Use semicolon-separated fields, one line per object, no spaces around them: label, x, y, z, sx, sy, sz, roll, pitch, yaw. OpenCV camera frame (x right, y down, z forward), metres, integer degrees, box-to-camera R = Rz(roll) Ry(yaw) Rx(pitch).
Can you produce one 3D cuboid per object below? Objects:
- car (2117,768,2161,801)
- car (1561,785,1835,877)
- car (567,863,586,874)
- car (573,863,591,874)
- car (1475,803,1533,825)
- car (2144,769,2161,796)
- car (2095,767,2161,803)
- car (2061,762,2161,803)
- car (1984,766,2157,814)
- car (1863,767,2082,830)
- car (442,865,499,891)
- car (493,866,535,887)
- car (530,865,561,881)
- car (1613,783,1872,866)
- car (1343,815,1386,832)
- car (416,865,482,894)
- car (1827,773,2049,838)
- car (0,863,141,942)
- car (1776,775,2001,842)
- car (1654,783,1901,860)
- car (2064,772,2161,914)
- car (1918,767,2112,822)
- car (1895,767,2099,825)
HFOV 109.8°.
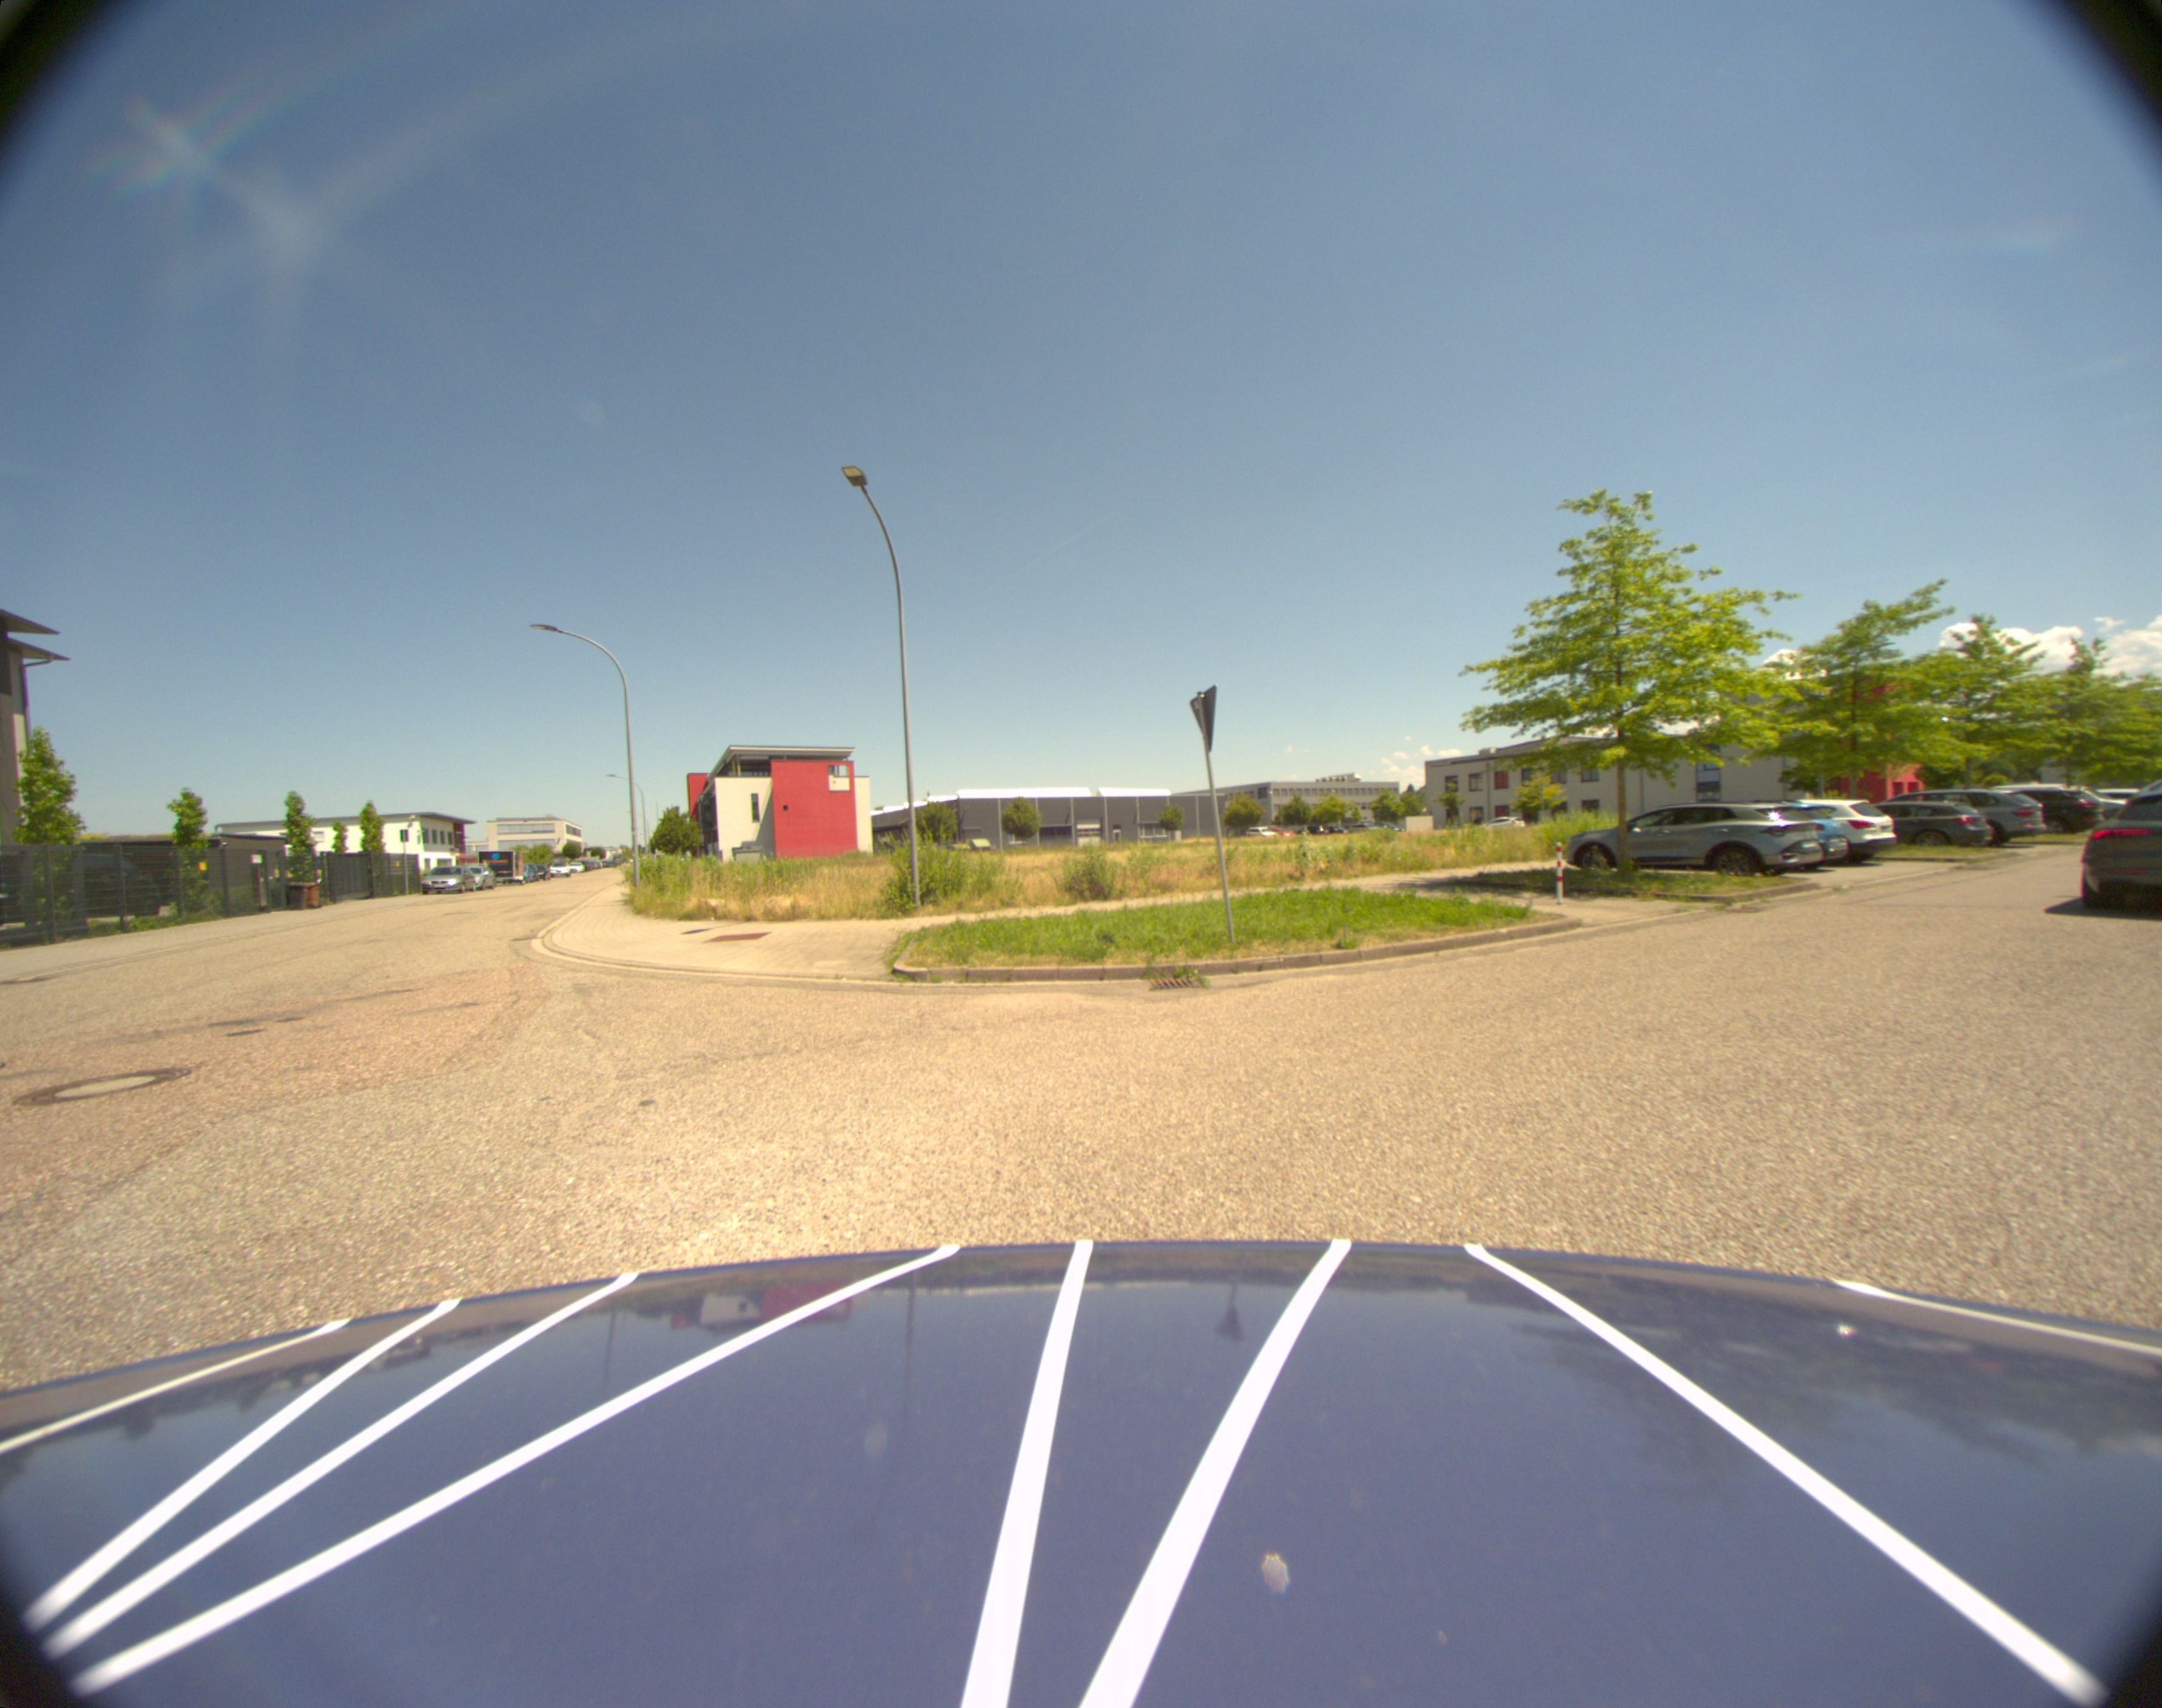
car;60.445;-3.933;41.582;1.960;1.688;4.194;-5;3;-27
car;13.472;-0.494;16.905;1.960;1.688;4.298;-5;3;-27
car;-69.059;1.973;104.054;1.832;1.270;3.877;-4;2;-28
car;-71.827;2.068;109.362;1.832;1.270;3.877;-4;2;-28
car;37.852;-3.554;68.082;2.003;1.740;3.990;-4;2;-30
car;71.714;-4.741;48.524;1.960;1.688;4.194;-5;3;-27
car;56.094;-3.633;39.246;1.960;1.688;4.194;-5;3;-27
car;50.010;-3.436;35.954;1.960;1.688;4.194;-5;3;-27
car;41.748;-2.655;32.175;1.960;1.688;4.194;-5;3;-27
car;28.304;-1.719;24.295;1.960;1.688;4.194;-5;3;-27
car;-35.322;1.381;44.063;1.832;1.270;3.877;-4;2;-28
car;-41.316;1.593;55.443;1.832;1.270;3.877;-4;2;-28
car;-48.608;1.702;69.051;1.832;1.270;3.877;-4;2;-28
car;15.752;-0.665;18.373;1.960;1.688;4.298;-5;3;-27
car;31.390;-3.380;84.206;2.003;1.740;3.990;-4;2;-31
car;-33.025;1.298;39.815;1.832;1.270;3.877;-4;2;-28
car;26.261;-1.443;23.457;1.960;1.688;4.194;-5;3;-27
car;-26.535;1.192;19.310;1.932;1.785;3.990;-4;2;-30
car;23.821;-1.286;22.604;1.960;1.688;4.194;-5;3;-27
car;17.806;-0.801;19.680;1.960;1.688;4.298;-5;3;-27
car;14.904;-0.254;9.917;4.643;1.684;1.994;-4;4;-31
car;34.161;-2.127;27.927;1.960;1.688;4.194;-5;3;-27
car;31.617;-1.949;26.373;1.960;1.688;4.194;-5;3;-27
